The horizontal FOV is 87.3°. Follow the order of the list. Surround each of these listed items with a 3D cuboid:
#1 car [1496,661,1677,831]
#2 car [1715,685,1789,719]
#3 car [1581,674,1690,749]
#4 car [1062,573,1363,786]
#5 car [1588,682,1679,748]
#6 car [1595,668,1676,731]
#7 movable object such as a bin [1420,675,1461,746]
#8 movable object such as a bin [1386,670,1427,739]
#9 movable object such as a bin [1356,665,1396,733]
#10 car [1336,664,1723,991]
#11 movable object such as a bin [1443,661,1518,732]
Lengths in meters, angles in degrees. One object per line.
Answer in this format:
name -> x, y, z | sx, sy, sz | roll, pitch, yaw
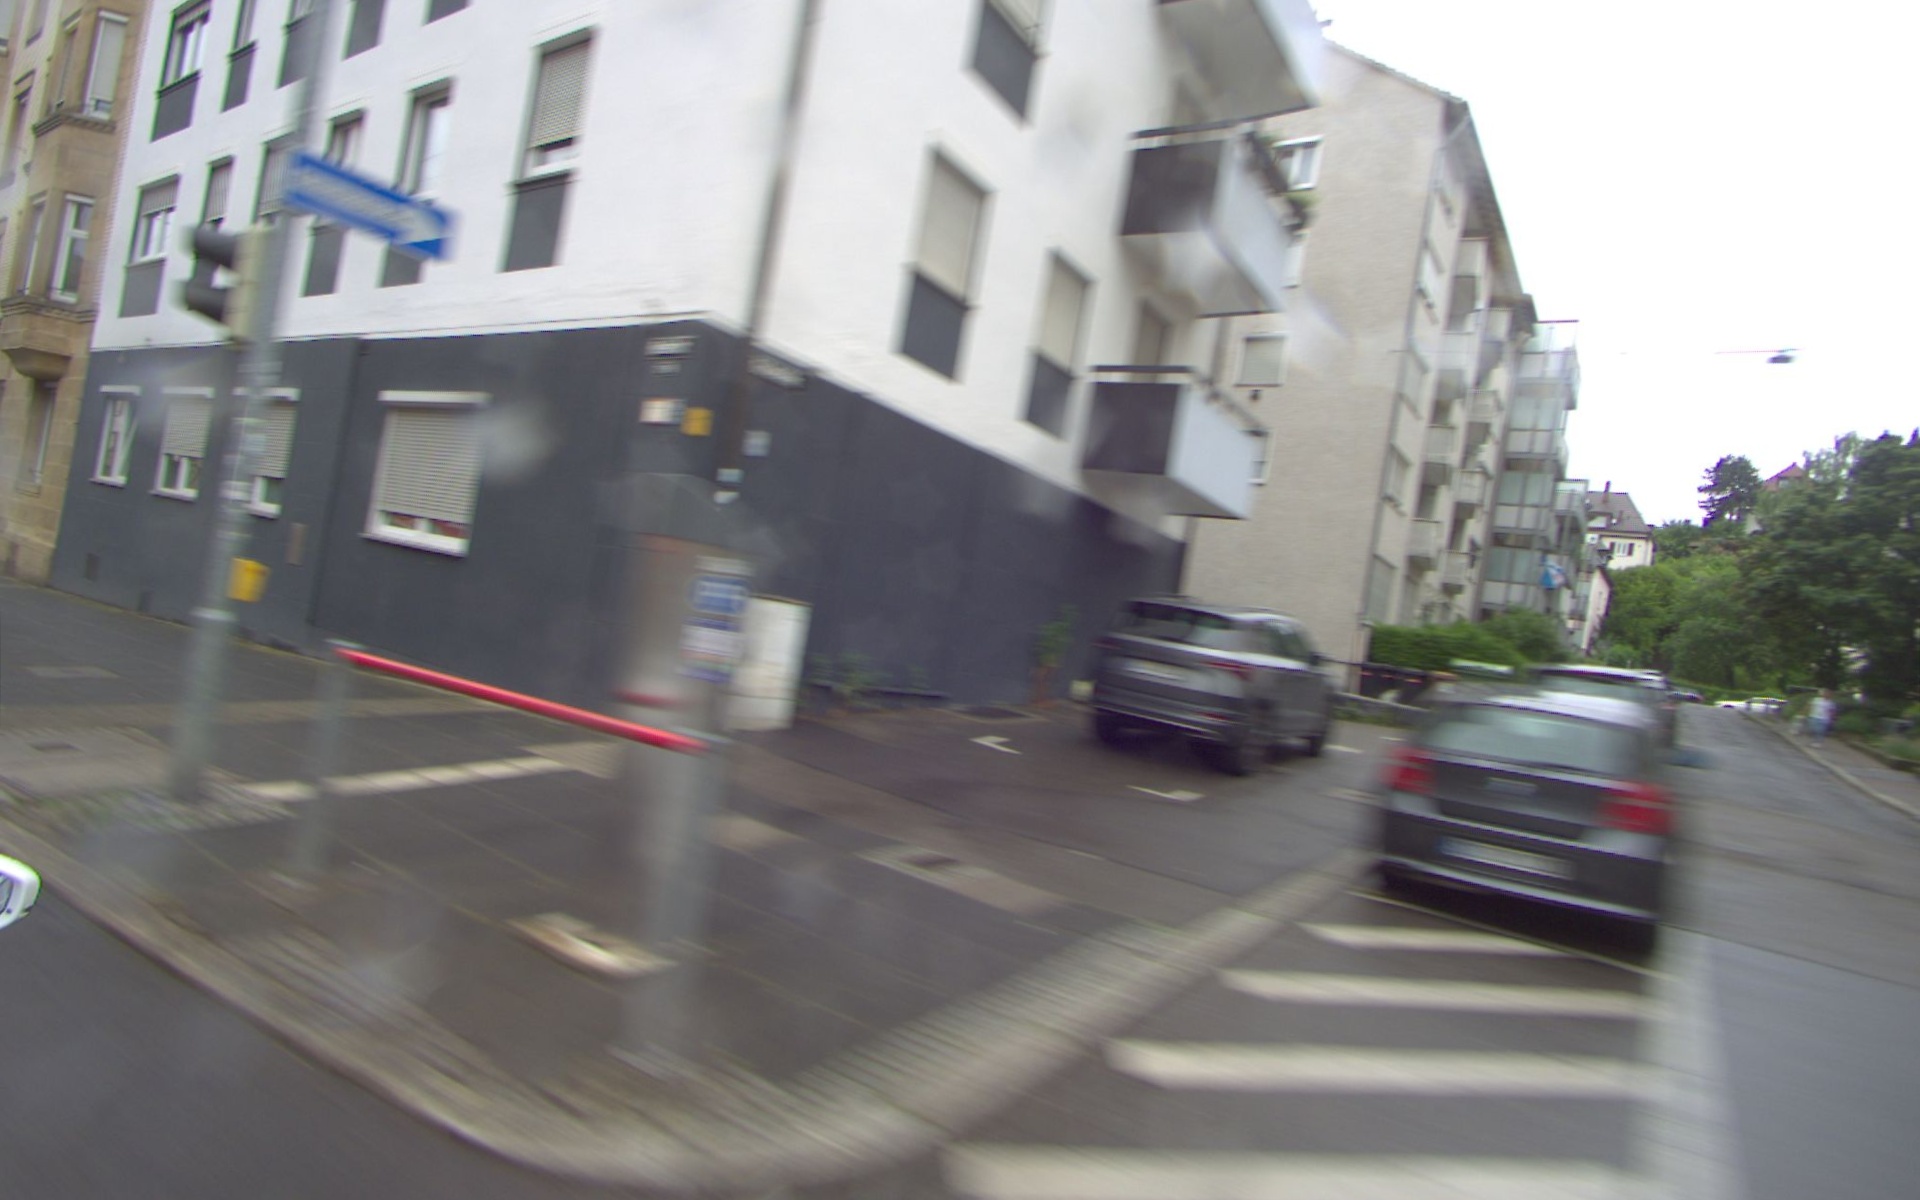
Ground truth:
car -> 7.392, 1.625, 11.921 | 1.444, 1.520, 3.992 | 5, -2, 32
car -> 52.515, 6.768, 66.748 | 3.635, 1.648, 1.831 | 7, -1, 42
car -> 16.722, 2.734, 24.889 | 1.969, 1.432, 4.053 | 7, -1, 35
car -> 2.952, 0.828, 11.118 | 1.712, 1.712, 3.987 | 10, 2, 35
car -> 19.891, 3.372, 29.679 | 1.969, 1.524, 4.053 | 7, -1, 35
car -> 22.688, 3.338, 33.749 | 1.969, 1.711, 4.053 | 7, -1, 35
movable object such as a bin -> 11.301, 2.596, 23.651 | 0.621, 1.544, 0.738 | 7, -2, 31
movable object such as a bin -> 10.614, 2.492, 23.911 | 0.621, 1.544, 0.738 | 7, -2, 31
movable object such as a bin -> 10.177, 2.426, 24.617 | 0.621, 1.544, 0.738 | 7, -2, 31
car -> 4.213, 1.337, 7.210 | 1.734, 1.432, 3.987 | 7, 0, 36
movable object such as a bin -> 12.439, 2.290, 24.042 | 1.332, 1.483, 1.064 | 7, 0, 34
